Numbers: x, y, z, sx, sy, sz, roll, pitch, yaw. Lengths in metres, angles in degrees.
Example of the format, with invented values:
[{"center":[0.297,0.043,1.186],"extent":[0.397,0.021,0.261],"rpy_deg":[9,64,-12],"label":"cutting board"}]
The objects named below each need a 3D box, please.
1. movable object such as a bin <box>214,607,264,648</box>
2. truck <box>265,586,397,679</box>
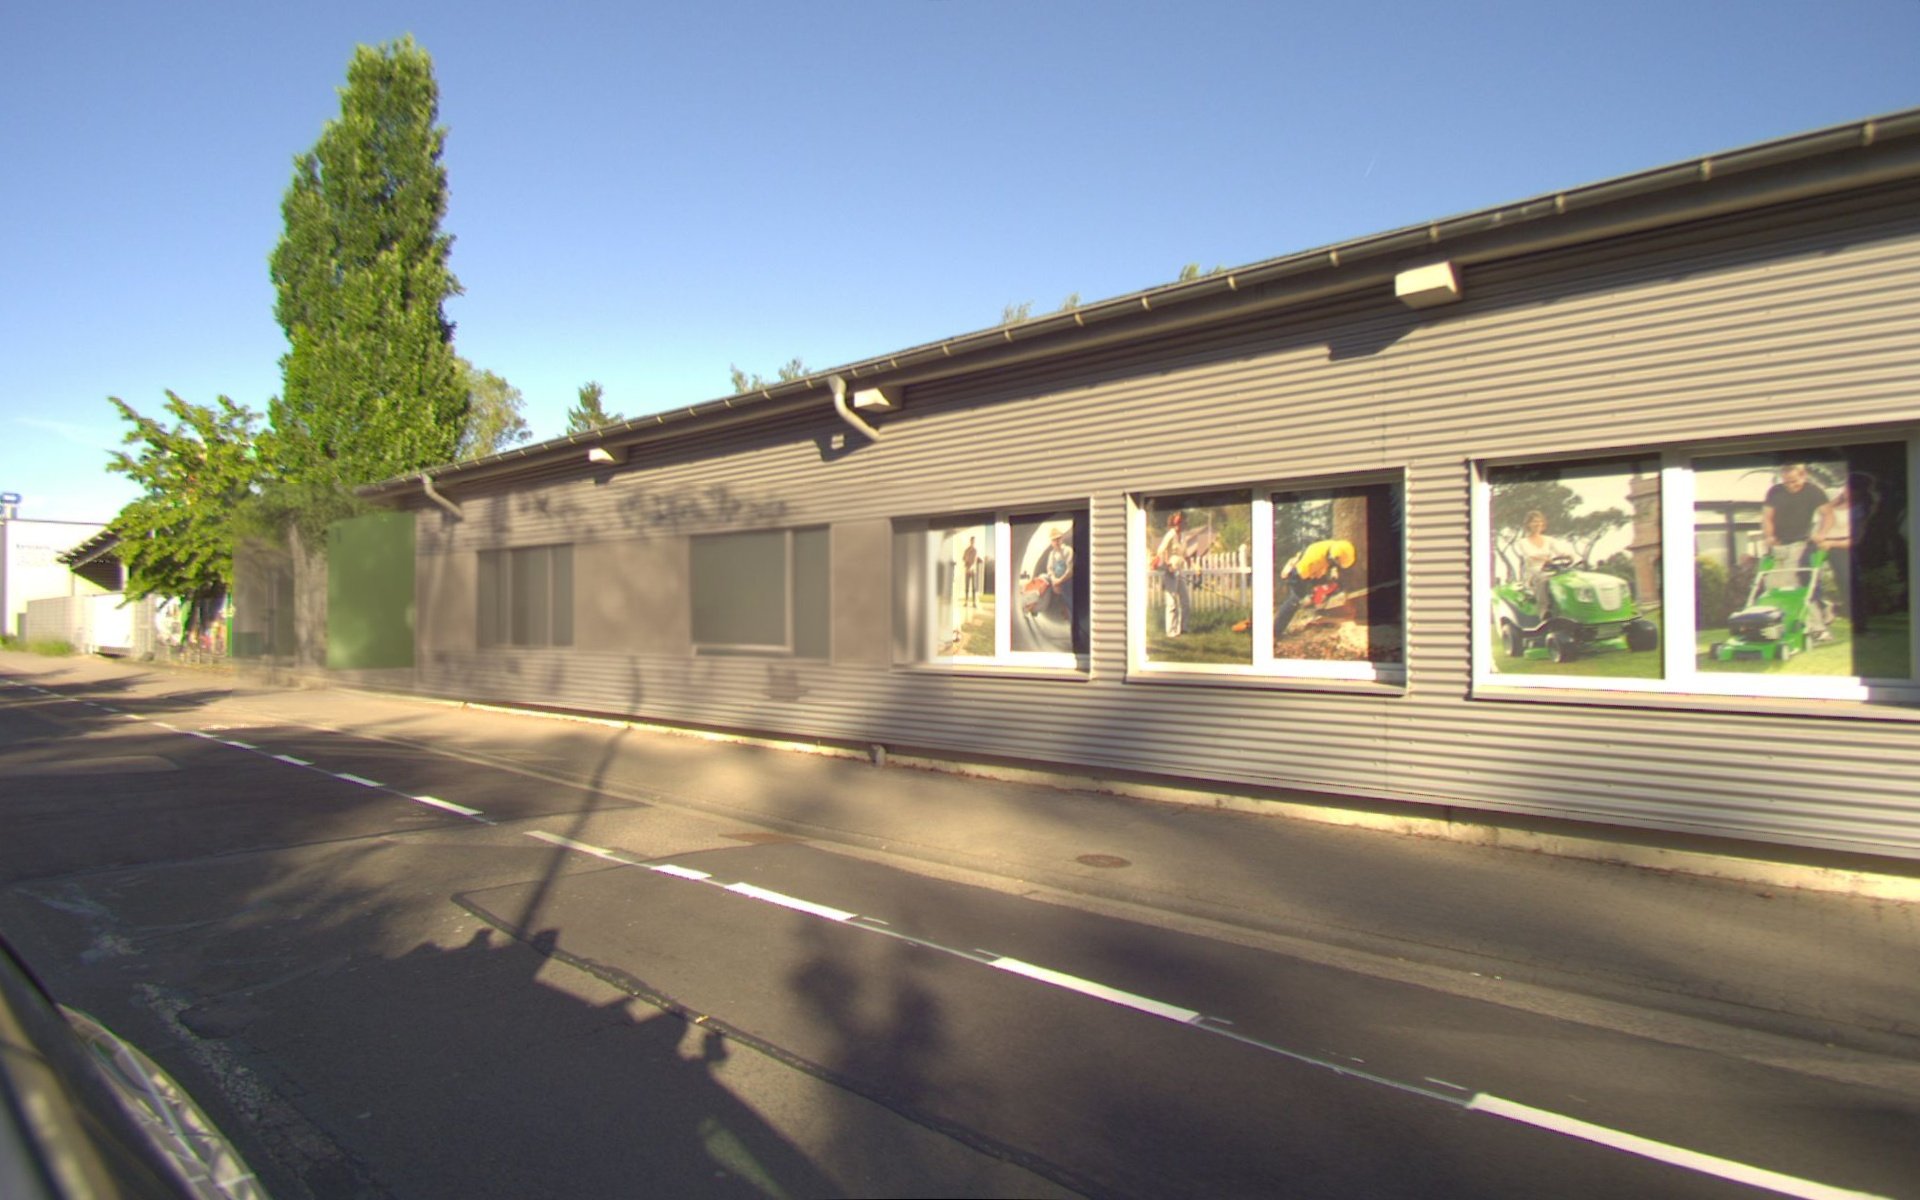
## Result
[{"center":[-38.549,1.482,54.082],"extent":[2.475,2.108,1.560],"rpy_deg":[-3,-2,39],"label":"movable object such as a bin"},{"center":[-20.456,1.051,32.794],"extent":[5.761,2.782,2.057],"rpy_deg":[-2,-2,41],"label":"truck"}]
